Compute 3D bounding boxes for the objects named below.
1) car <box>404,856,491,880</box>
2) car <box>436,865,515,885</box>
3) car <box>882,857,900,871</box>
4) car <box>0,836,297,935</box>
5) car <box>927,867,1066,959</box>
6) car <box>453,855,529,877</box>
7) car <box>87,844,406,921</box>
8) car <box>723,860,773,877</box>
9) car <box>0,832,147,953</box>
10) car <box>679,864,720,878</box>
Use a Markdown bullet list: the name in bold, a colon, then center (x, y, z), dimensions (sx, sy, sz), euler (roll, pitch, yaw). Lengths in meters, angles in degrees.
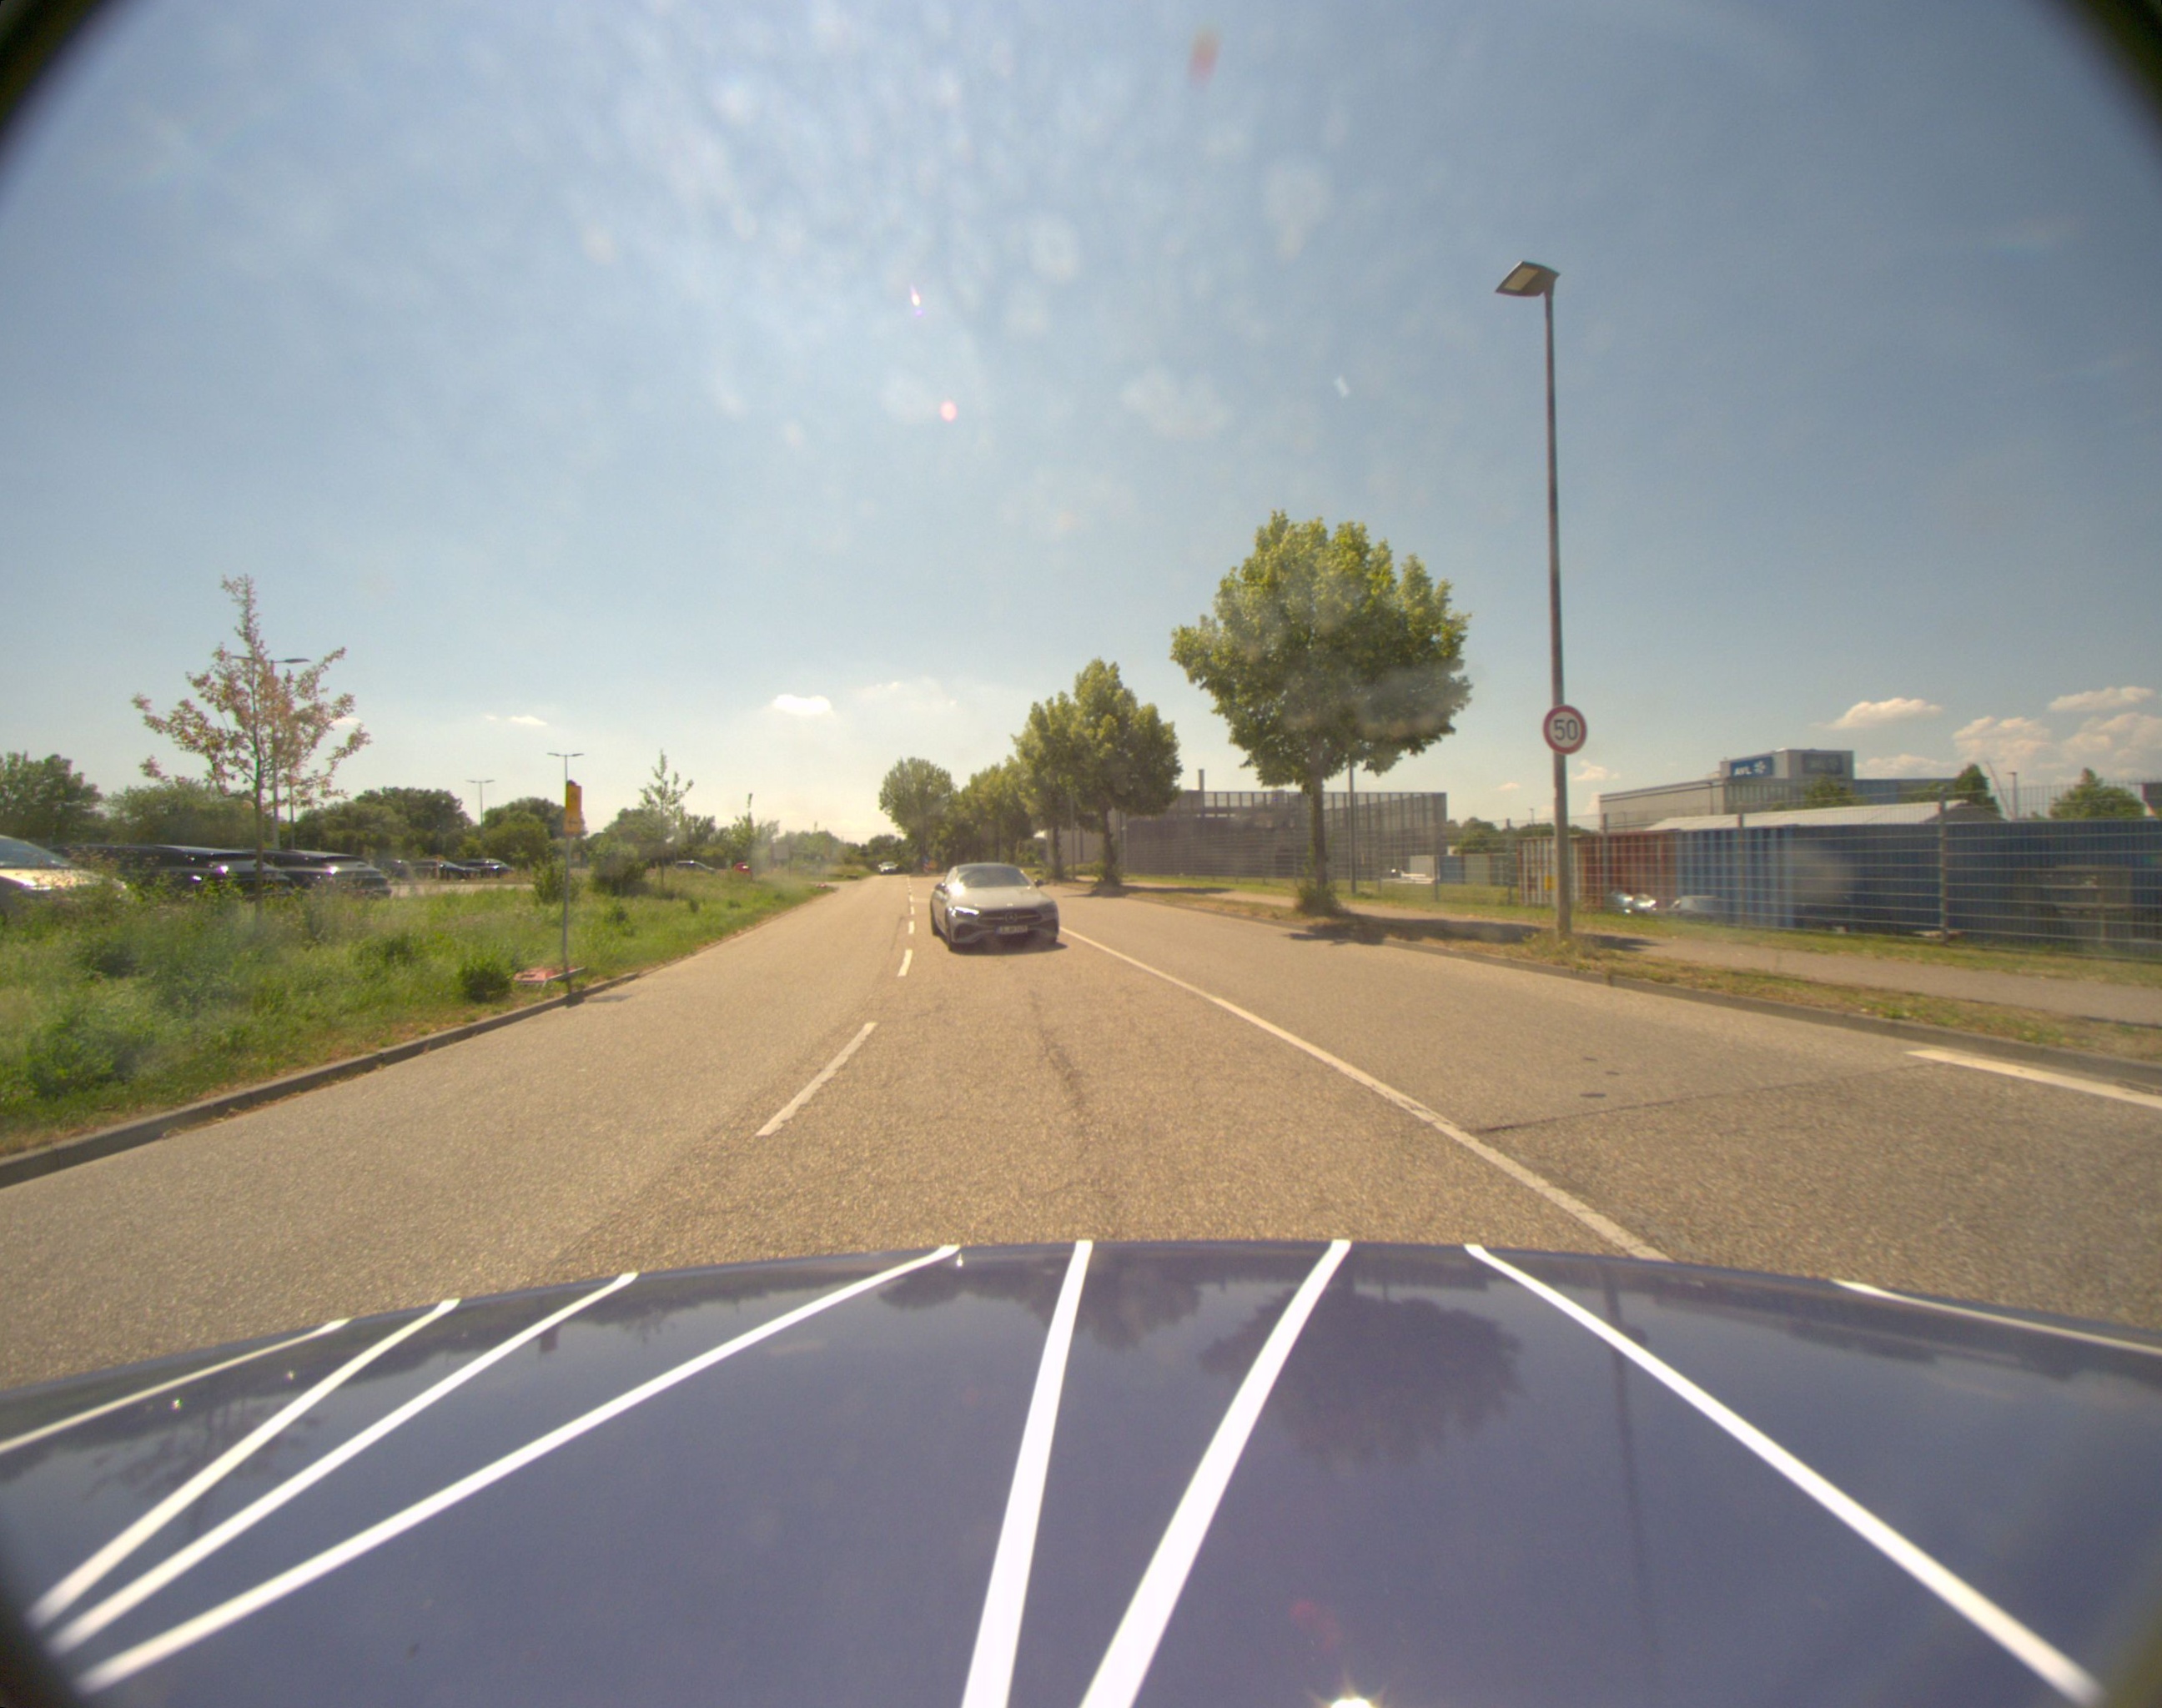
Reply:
- **car**: center (-41.996, 0.932, 50.470), dimensions (4.002, 1.343, 1.644), euler (-3, 2, -17)
- **car**: center (-42.450, 1.474, 53.373), dimensions (4.003, 1.343, 1.644), euler (0, 0, -17)
- **car**: center (-20.944, 1.123, 83.916), dimensions (1.674, 1.367, 4.492), euler (-4, 1, -12)
- **car**: center (-16.539, 0.492, 12.736), dimensions (4.404, 1.536, 1.813), euler (0, 0, -14)
- **car**: center (-1.776, 0.966, 14.379), dimensions (1.899, 1.375, 4.627), euler (-2, 0, -15)
- **car**: center (-43.305, 0.855, 55.825), dimensions (4.002, 1.343, 1.644), euler (-3, 2, -17)
- **car**: center (-16.968, 0.525, 15.705), dimensions (4.001, 1.284, 1.906), euler (-3, 2, -12)
- **car**: center (-30.968, 1.314, 70.735), dimensions (4.002, 1.343, 1.644), euler (-3, 2, -17)
- **car**: center (-16.103, 0.506, 10.459), dimensions (3.852, 1.614, 1.615), euler (0, 0, -16)
- **car**: center (-44.691, 2.008, 89.123), dimensions (4.002, 1.343, 1.644), euler (-3, 2, -17)
